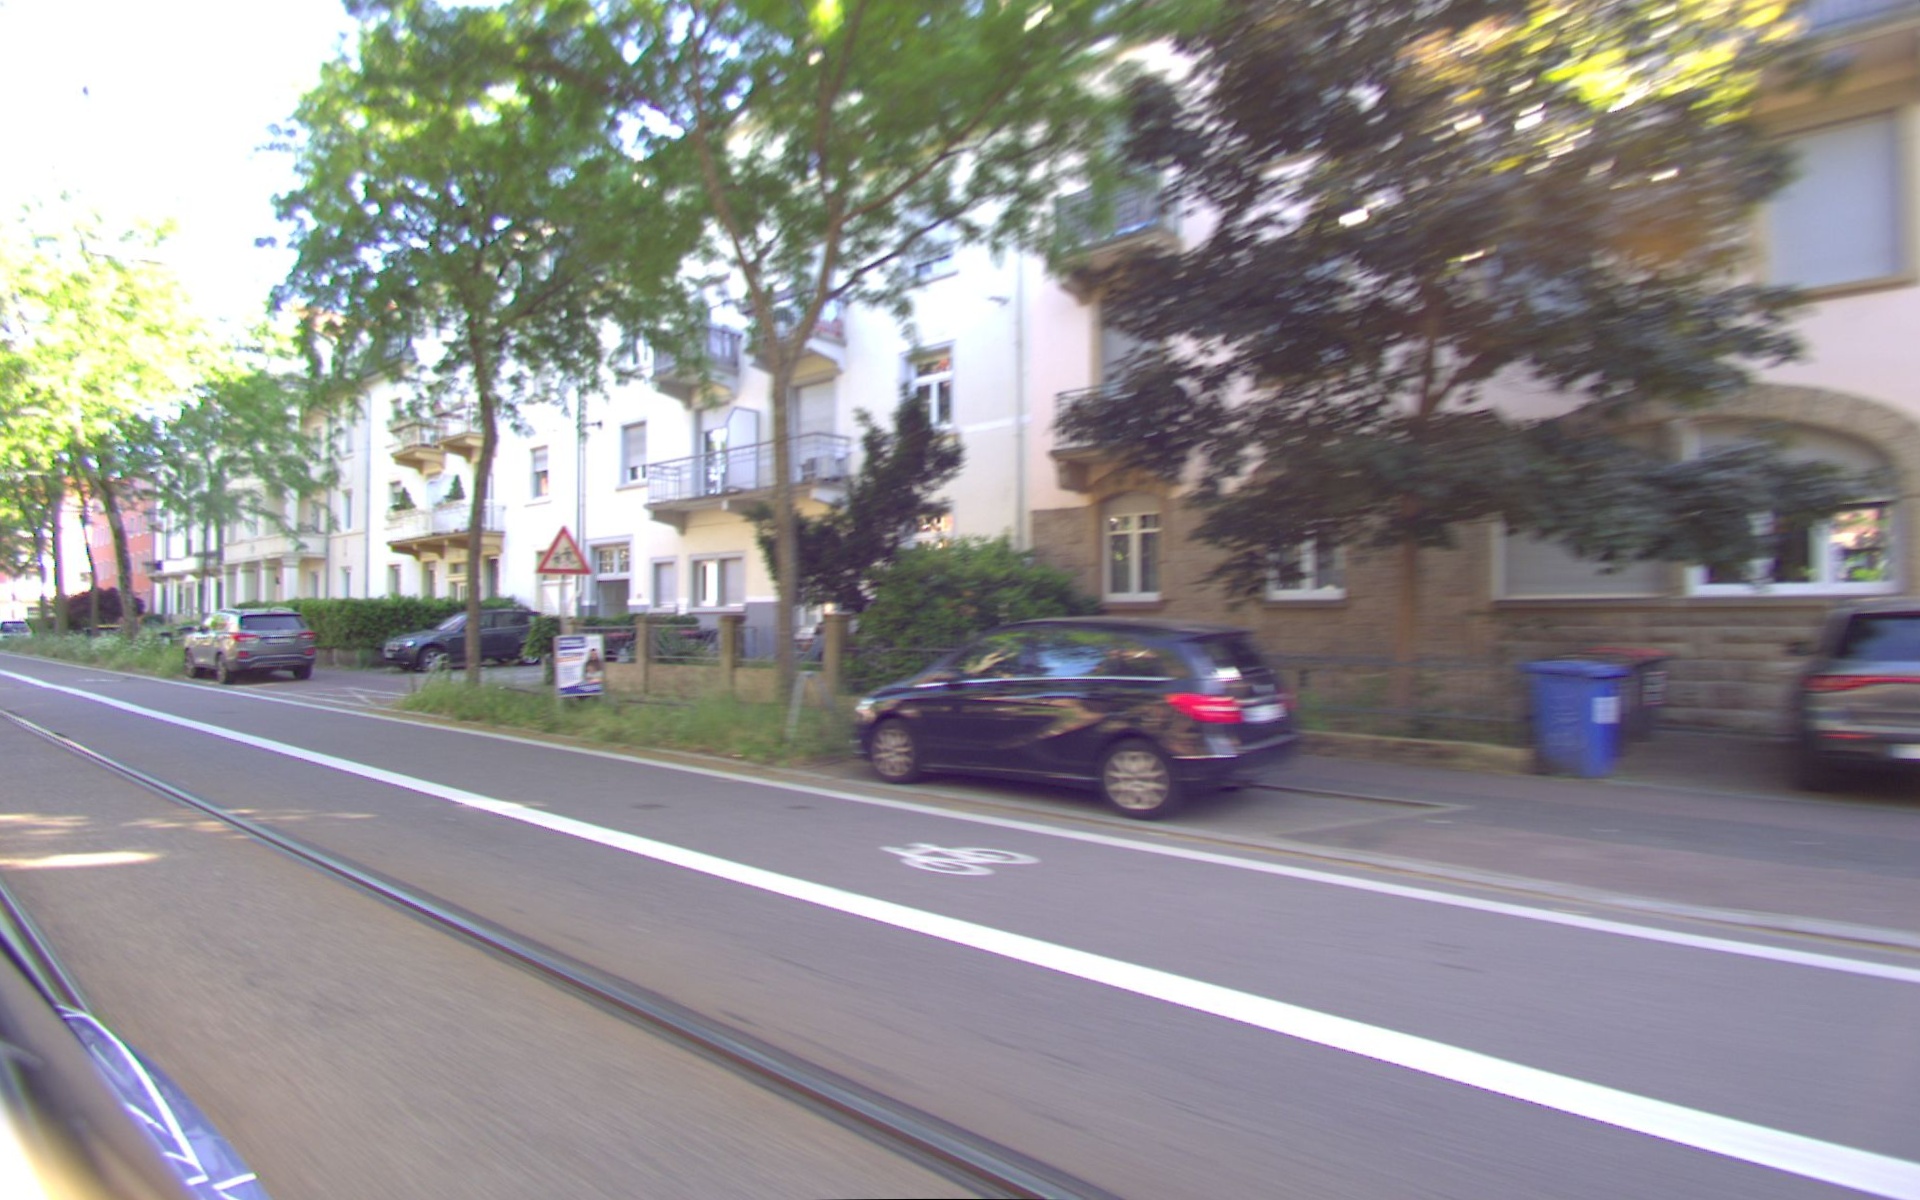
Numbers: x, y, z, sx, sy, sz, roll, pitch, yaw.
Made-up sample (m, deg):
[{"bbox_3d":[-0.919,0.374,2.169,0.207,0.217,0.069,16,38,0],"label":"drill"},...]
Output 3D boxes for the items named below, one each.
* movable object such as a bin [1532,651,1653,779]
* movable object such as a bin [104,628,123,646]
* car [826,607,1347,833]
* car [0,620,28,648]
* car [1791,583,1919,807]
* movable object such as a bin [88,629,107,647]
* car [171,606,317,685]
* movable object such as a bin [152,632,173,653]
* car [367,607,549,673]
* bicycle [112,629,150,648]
[{"bbox_3d":[5.849,1.025,9.350,0.813,1.074,0.866,-1,-2,41],"label":"movable object such as a bin"},{"bbox_3d":[-50.018,2.205,59.818,0.895,1.062,0.730,-1,-2,41],"label":"movable object such as a bin"},{"bbox_3d":[0.941,0.873,9.196,4.483,1.553,1.758,-1,0,41],"label":"car"},{"bbox_3d":[-54.449,1.927,57.605,3.686,1.547,1.609,-1,-1,39],"label":"car"},{"bbox_3d":[8.680,0.700,8.959,1.981,1.671,4.125,-1,-1,39],"label":"car"},{"bbox_3d":[-50.510,2.221,59.256,0.895,1.049,0.730,-1,-2,41],"label":"movable object such as a bin"},{"bbox_3d":[-18.444,1.107,25.990,4.766,1.837,1.852,-1,-1,39],"label":"car"},{"bbox_3d":[-36.308,1.916,46.050,0.739,0.928,0.621,-1,0,41],"label":"movable object such as a bin"},{"bbox_3d":[-14.348,1.090,29.077,1.952,1.673,4.255,-1,0,42],"label":"car"},{"bbox_3d":[-44.661,2.072,54.531,0.550,1.004,1.863,0,-1,-3],"label":"bicycle"}]
